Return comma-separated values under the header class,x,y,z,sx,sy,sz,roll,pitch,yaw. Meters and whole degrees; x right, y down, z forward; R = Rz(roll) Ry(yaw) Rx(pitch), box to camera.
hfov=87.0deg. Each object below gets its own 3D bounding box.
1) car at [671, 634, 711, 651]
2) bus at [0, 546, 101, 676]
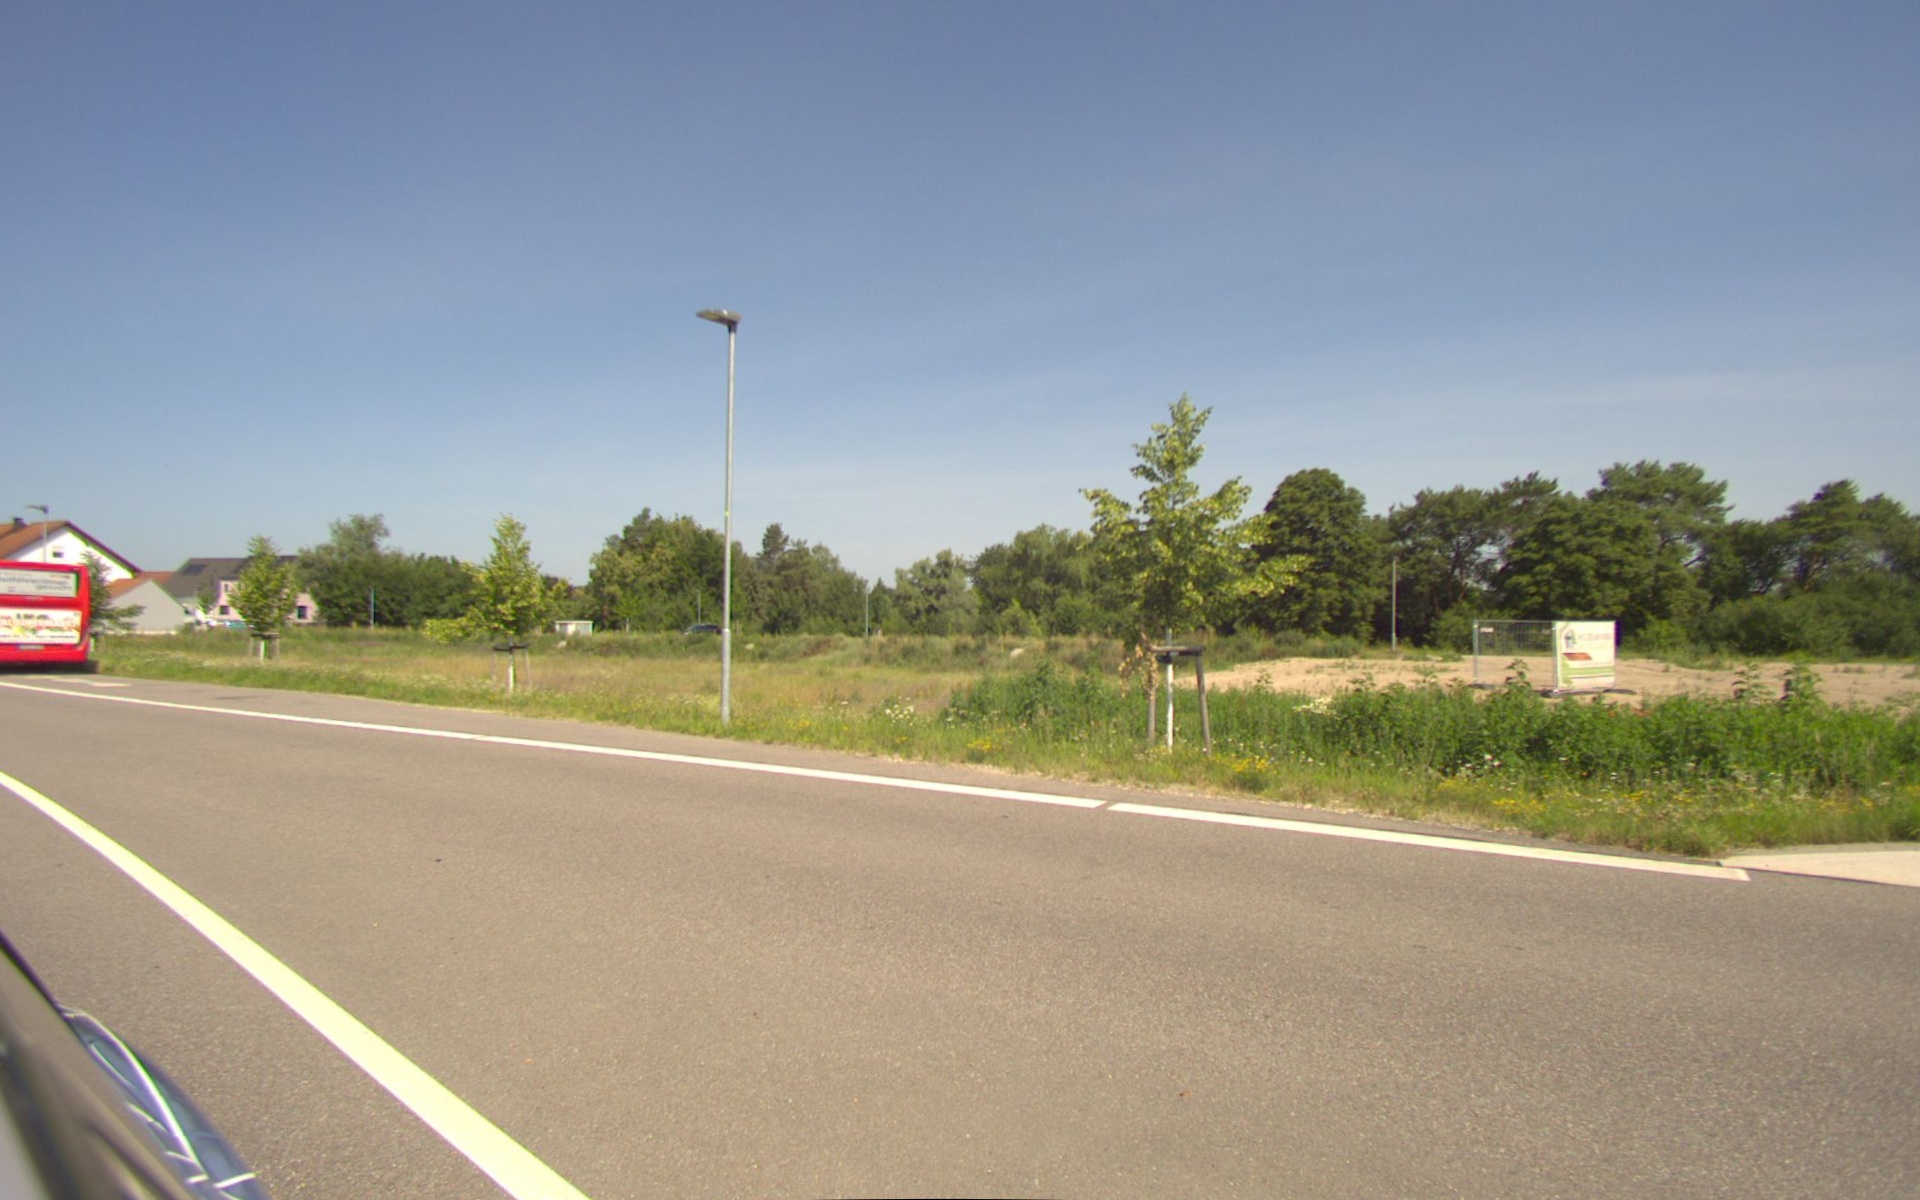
class,x,y,z,sx,sy,sz,roll,pitch,yaw
car,-25.358,3.957,95.397,1.508,1.547,3.516,0,-2,34
bus,-29.266,0.443,29.843,12.197,3.312,2.770,-1,-4,34
